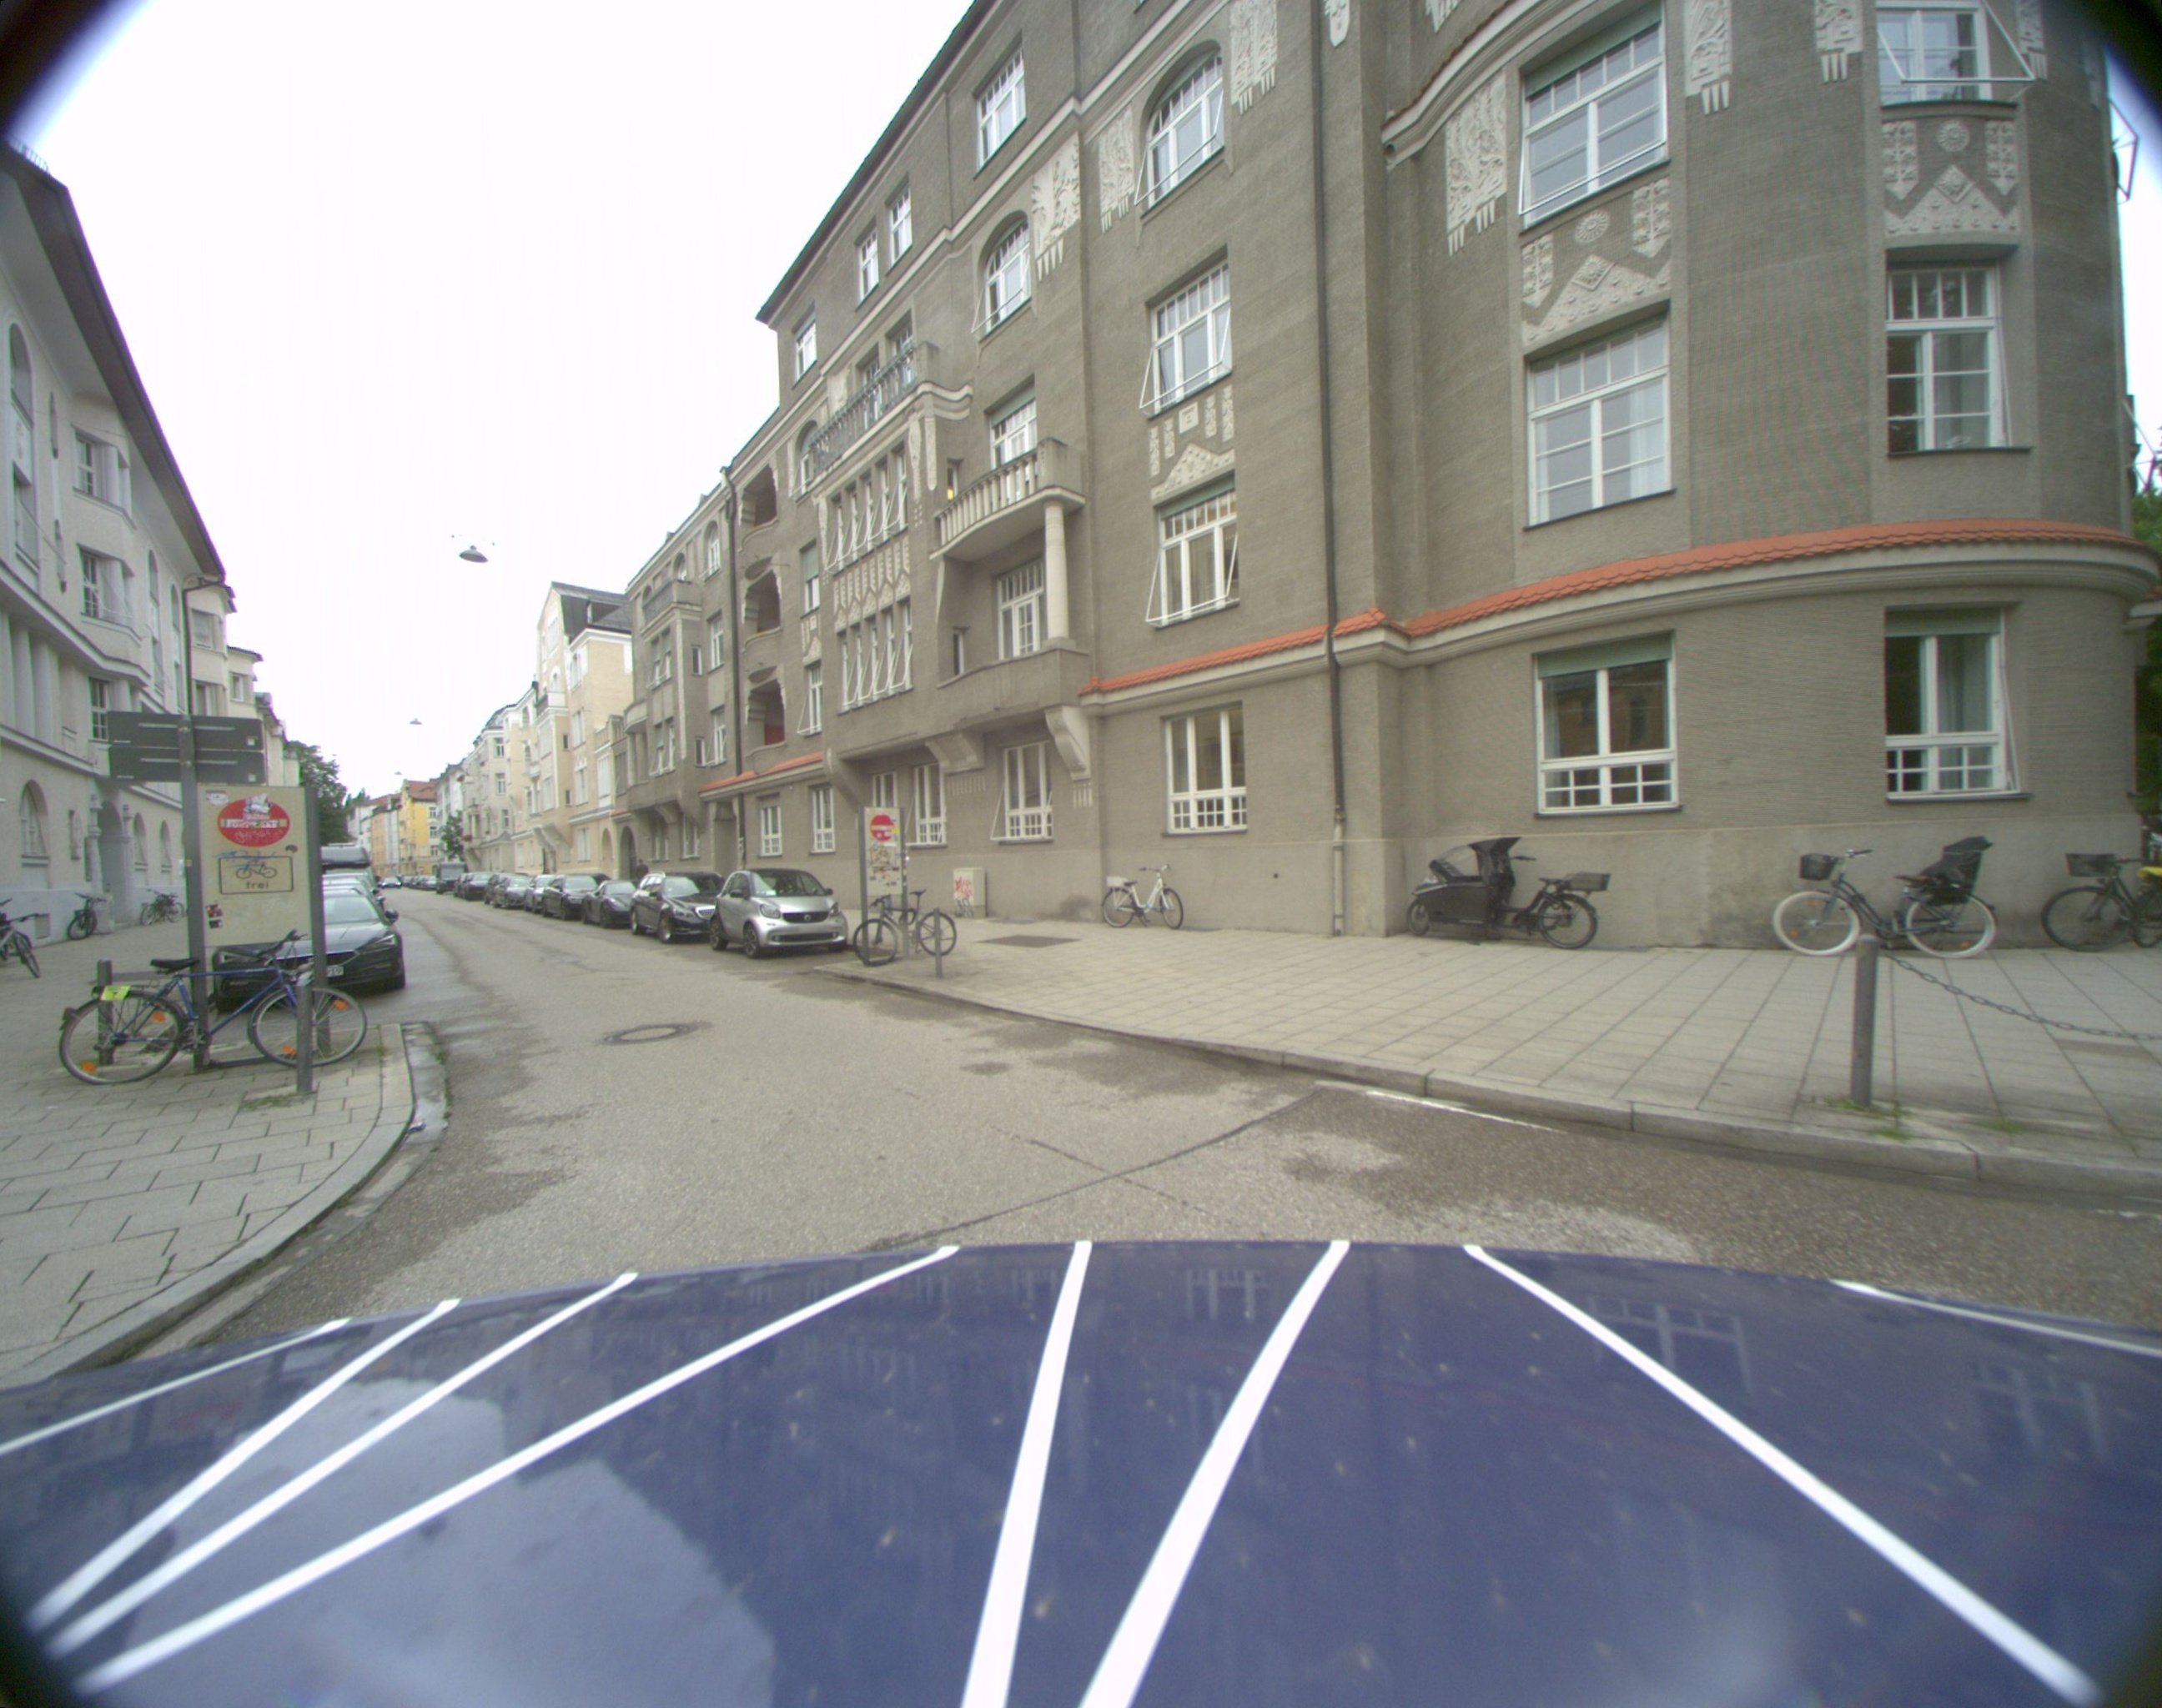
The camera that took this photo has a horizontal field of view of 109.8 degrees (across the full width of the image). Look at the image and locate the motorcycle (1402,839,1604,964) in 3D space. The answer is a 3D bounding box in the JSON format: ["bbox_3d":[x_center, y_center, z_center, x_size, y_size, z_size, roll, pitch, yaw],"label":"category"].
[{"bbox_3d":[5.395,0.562,9.833,0.739,1.432,2.141,-4,2,-45],"label":"motorcycle"}]

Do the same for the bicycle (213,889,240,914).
[{"bbox_3d":[-41.672,2.327,37.084,0.644,1.111,1.962,-4,2,-43],"label":"bicycle"}]

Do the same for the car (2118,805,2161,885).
[{"bbox_3d":[28.038,-0.271,18.780,1.994,1.941,4.669,-1,2,43],"label":"car"}]

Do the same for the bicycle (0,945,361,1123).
[{"bbox_3d":[-6.799,1.309,5.782,1.798,1.079,0.665,-1,-1,-16],"label":"bicycle"}]

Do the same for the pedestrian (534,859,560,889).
[{"bbox_3d":[-30.920,1.150,43.974,0.998,1.719,0.937,-4,2,-44],"label":"pedestrian"}]

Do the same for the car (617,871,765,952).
[{"bbox_3d":[-8.953,1.177,17.227,1.764,1.506,4.694,-2,1,-43],"label":"car"}]

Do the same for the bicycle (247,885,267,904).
[{"bbox_3d":[-50.893,2.483,46.944,0.649,1.111,1.962,-4,2,-43],"label":"bicycle"}]

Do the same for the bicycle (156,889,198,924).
[{"bbox_3d":[-32.945,1.890,27.723,0.484,1.144,1.783,-3,1,-35],"label":"bicycle"}]

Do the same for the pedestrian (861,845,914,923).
[{"bbox_3d":[-4.640,0.693,18.203,0.843,1.777,0.933,-3,2,-41],"label":"pedestrian"}]

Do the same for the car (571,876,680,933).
[{"bbox_3d":[-12.781,1.336,21.214,1.764,1.323,4.085,-2,1,-43],"label":"car"}]

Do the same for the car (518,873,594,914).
[{"bbox_3d":[-20.244,1.465,29.213,1.815,1.423,4.427,-1,0,-42],"label":"car"}]

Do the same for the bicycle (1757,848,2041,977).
[{"bbox_3d":[8.490,0.597,7.990,1.922,1.249,0.739,-2,1,16],"label":"bicycle"}]

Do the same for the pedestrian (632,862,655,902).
[{"bbox_3d":[-20.771,1.320,36.088,0.720,1.807,0.728,-4,2,-44],"label":"pedestrian"}]

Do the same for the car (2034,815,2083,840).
[{"bbox_3d":[79.248,-2.161,61.654,4.669,1.941,1.994,-3,2,-44],"label":"car"}]

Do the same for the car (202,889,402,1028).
[{"bbox_3d":[-11.418,1.347,11.236,4.598,1.463,1.701,-1,2,45],"label":"car"}]

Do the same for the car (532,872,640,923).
[{"bbox_3d":[-16.487,1.368,25.206,2.004,1.440,4.765,-2,1,-45],"label":"car"}]

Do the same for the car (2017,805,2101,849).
[{"bbox_3d":[47.069,-1.315,36.667,4.669,1.940,1.994,-3,1,-44],"label":"car"}]

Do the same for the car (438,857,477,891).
[{"bbox_3d":[-50.726,1.595,61.752,2.110,2.605,5.662,-1,0,-43],"label":"car"}]

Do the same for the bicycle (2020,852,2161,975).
[{"bbox_3d":[11.212,0.600,8.232,1.927,1.151,0.564,-2,5,-17],"label":"bicycle"}]

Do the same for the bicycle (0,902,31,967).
[{"bbox_3d":[-21.270,1.575,14.944,1.672,1.185,0.566,-1,-1,42],"label":"bicycle"}]

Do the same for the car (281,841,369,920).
[{"bbox_3d":[-31.821,0.995,32.094,2.266,2.943,6.114,-5,3,-44],"label":"car"}]

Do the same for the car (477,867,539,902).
[{"bbox_3d":[-28.728,1.502,38.063,3.803,1.563,1.812,-1,2,44],"label":"car"}]

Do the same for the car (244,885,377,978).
[{"bbox_3d":[-15.430,1.440,15.264,3.844,1.463,1.642,-1,2,45],"label":"car"}]

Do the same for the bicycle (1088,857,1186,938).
[{"bbox_3d":[0.990,0.757,13.695,1.670,1.342,0.622,-1,2,42],"label":"bicycle"}]

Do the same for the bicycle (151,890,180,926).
[{"bbox_3d":[-31.398,1.833,26.076,1.783,1.143,0.484,-1,-1,44],"label":"bicycle"}]

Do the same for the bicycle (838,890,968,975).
[{"bbox_3d":[-2.599,1.122,11.248,1.811,1.009,0.538,-4,3,-44],"label":"bicycle"}]

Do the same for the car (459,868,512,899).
[{"bbox_3d":[-34.657,1.698,44.185,1.961,1.649,4.604,-2,1,-43],"label":"car"}]

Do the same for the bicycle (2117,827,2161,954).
[{"bbox_3d":[13.124,0.395,9.062,1.929,1.405,0.736,-3,2,-31],"label":"bicycle"}]

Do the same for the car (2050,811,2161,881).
[{"bbox_3d":[31.909,-0.295,23.294,1.994,1.941,4.669,-1,2,43],"label":"car"}]

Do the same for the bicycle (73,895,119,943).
[{"bbox_3d":[-25.928,1.684,20.015,1.783,1.144,0.484,-1,2,44],"label":"bicycle"}]

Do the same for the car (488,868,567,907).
[{"bbox_3d":[-23.897,1.400,32.752,4.595,1.504,1.847,-1,1,43],"label":"car"}]

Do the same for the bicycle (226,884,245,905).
[{"bbox_3d":[-46.579,2.222,41.877,0.495,1.111,1.962,-4,2,-43],"label":"bicycle"}]

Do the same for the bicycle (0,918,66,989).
[{"bbox_3d":[-16.873,1.553,11.500,0.753,1.026,1.798,-1,0,-8],"label":"bicycle"}]

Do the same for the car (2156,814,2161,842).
[{"bbox_3d":[55.268,-1.332,37.423,1.772,1.424,4.526,-1,1,43],"label":"car"}]

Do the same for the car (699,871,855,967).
[{"bbox_3d":[-5.649,1.095,13.984,1.713,1.506,2.903,-1,0,-43],"label":"car"}]
